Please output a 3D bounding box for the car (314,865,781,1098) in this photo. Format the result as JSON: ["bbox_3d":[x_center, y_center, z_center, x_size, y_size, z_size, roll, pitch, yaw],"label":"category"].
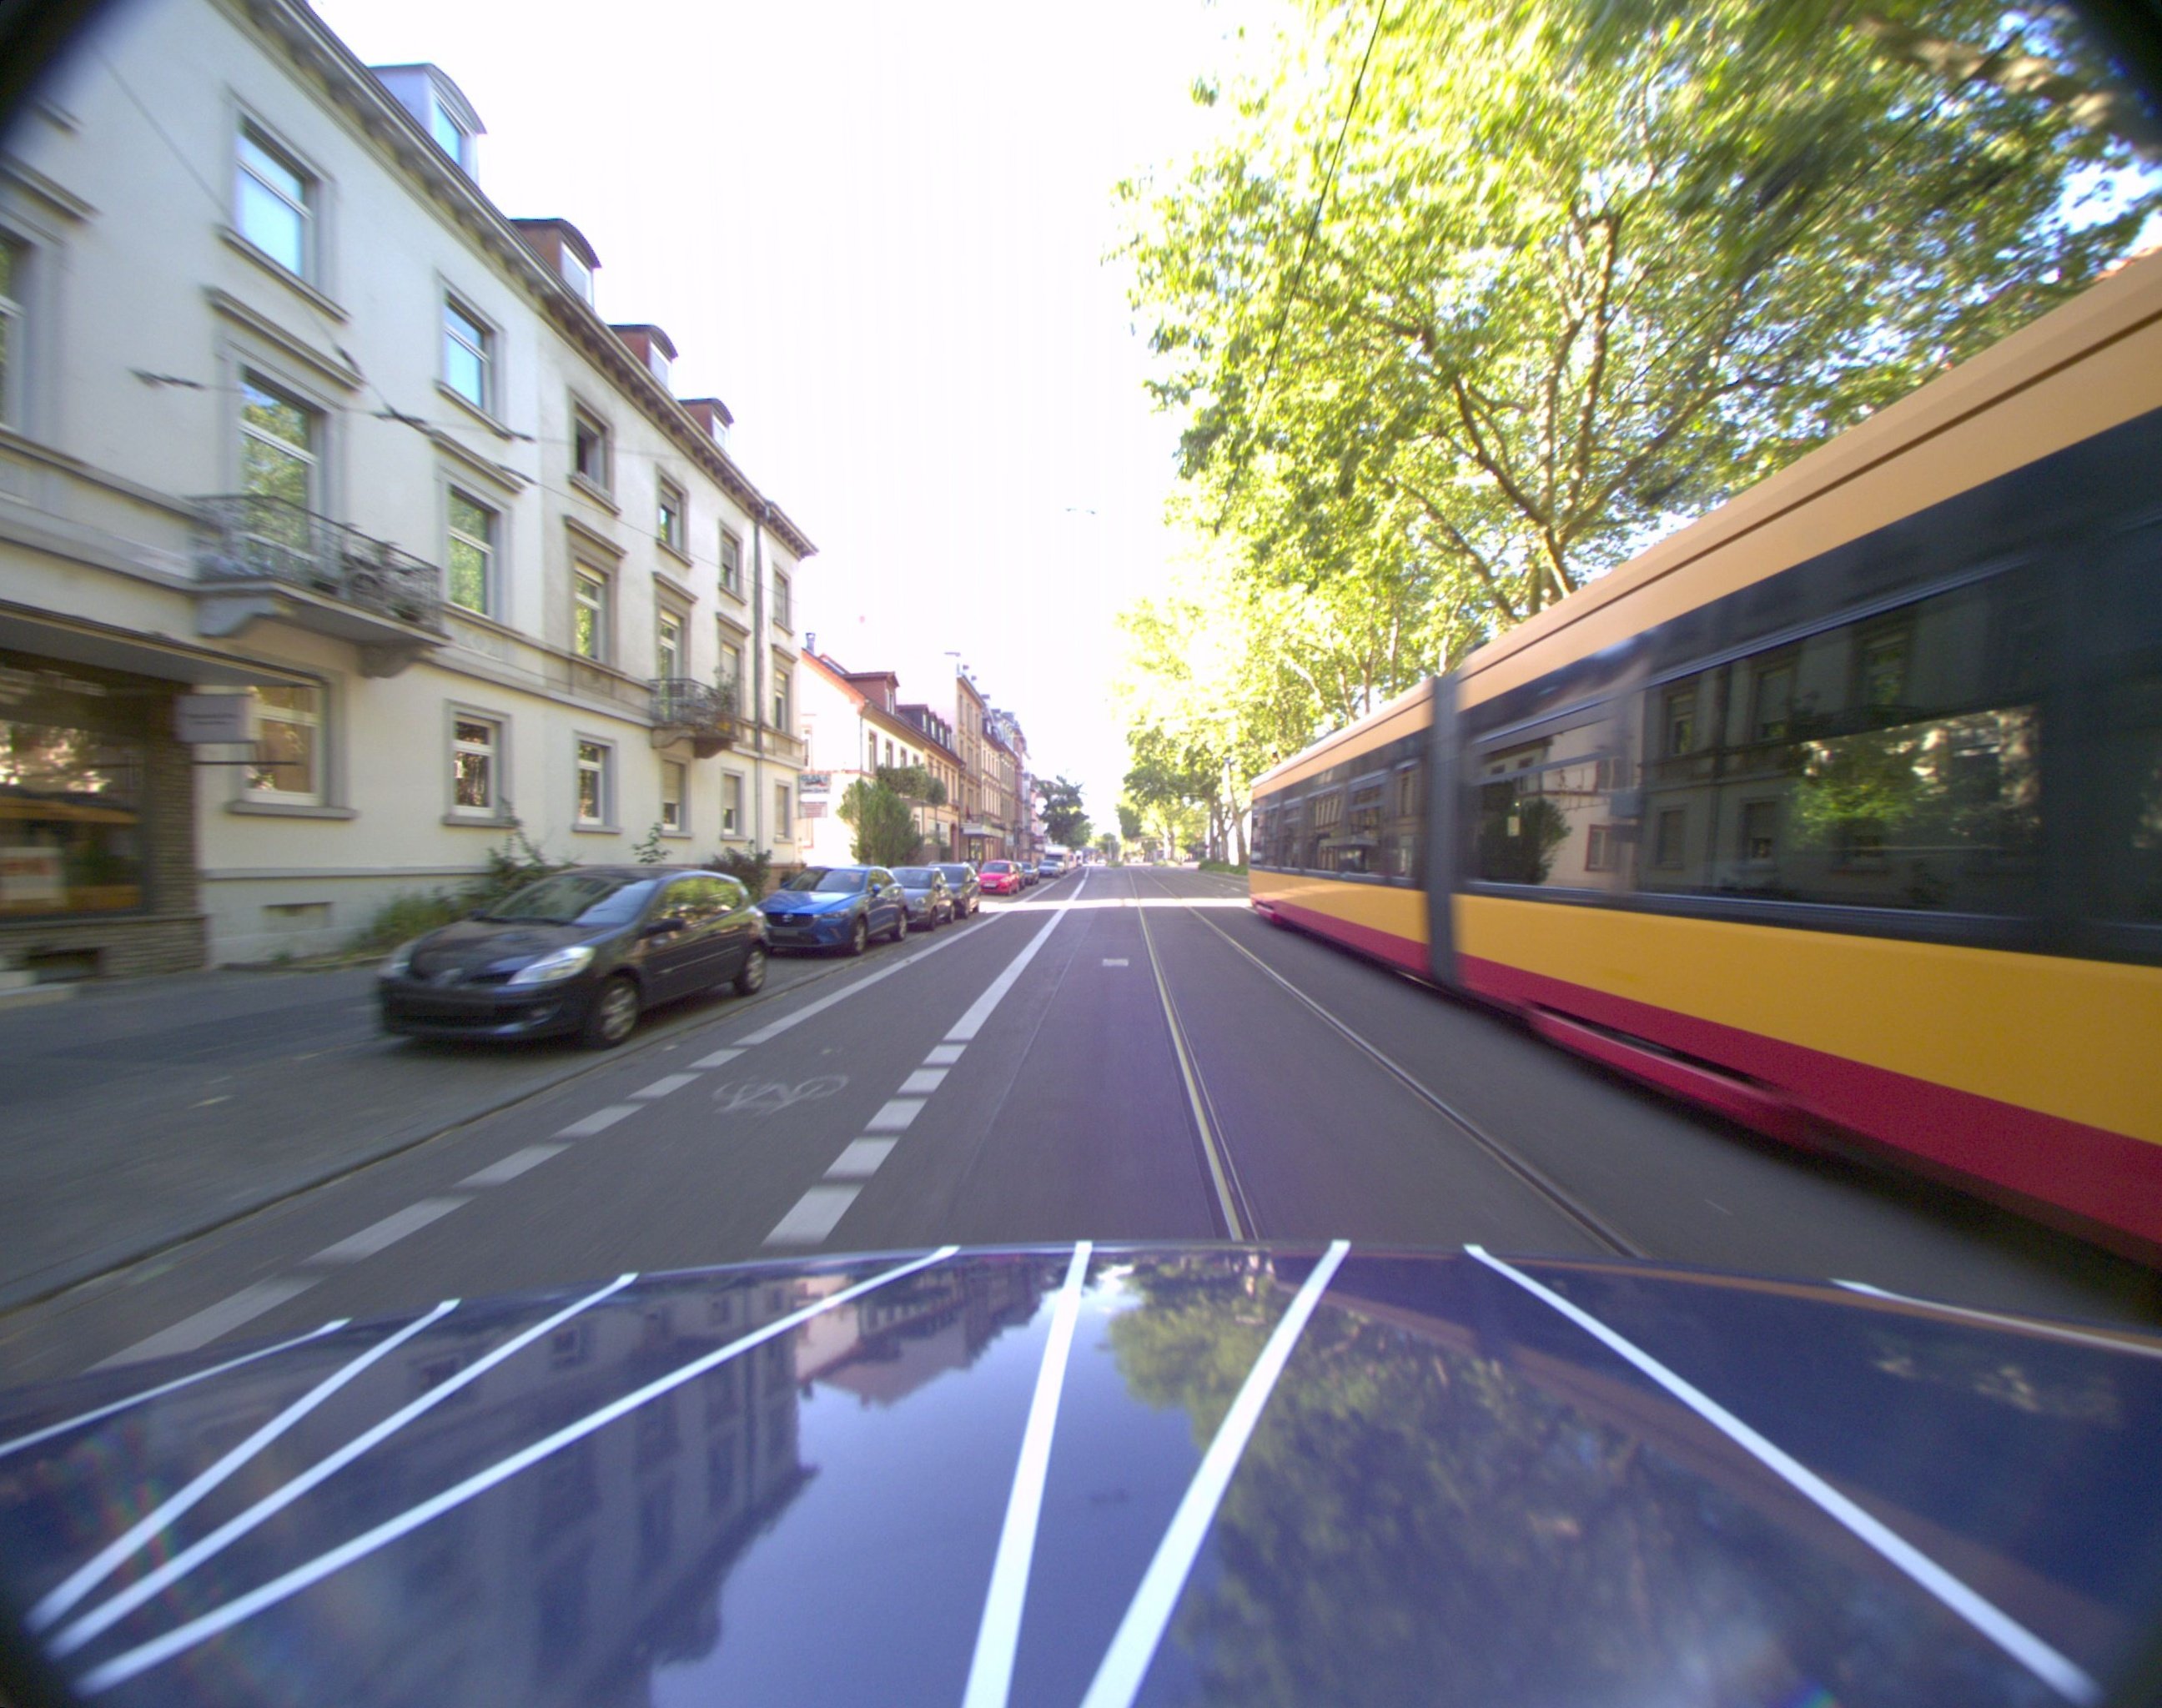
[{"bbox_3d":[-4.599,0.937,7.389,1.635,1.497,3.907,4,0,2],"label":"car"}]

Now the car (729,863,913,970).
[{"bbox_3d":[-4.463,0.993,13.720,1.729,1.497,3.908,4,0,3],"label":"car"}]

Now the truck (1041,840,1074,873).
[{"bbox_3d":[-2.371,0.194,79.238,2.842,3.145,7.293,-3,1,2],"label":"truck"}]

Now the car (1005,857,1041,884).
[{"bbox_3d":[-3.438,0.956,45.634,1.702,1.559,3.687,1,0,3],"label":"car"}]

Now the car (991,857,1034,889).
[{"bbox_3d":[-3.502,0.939,39.494,1.702,1.559,3.687,1,0,3],"label":"car"}]

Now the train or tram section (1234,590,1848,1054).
[{"bbox_3d":[4.937,-0.290,12.317,2.943,3.598,12.412,-2,1,3],"label":"train or tram section"}]

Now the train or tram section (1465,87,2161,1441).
[{"bbox_3d":[4.256,-0.236,0.334,2.943,3.598,11.260,-2,1,3],"label":"train or tram section"}]

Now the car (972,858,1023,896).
[{"bbox_3d":[-3.707,0.990,34.362,1.702,1.559,3.687,1,0,3],"label":"car"}]

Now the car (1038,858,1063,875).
[{"bbox_3d":[-2.568,1.065,64.691,1.702,1.324,3.687,1,0,3],"label":"car"}]

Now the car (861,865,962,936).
[{"bbox_3d":[-4.049,1.065,18.614,1.542,1.497,3.359,1,0,3],"label":"car"}]

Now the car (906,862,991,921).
[{"bbox_3d":[-3.912,1.063,23.003,1.729,1.559,3.687,1,0,3],"label":"car"}]
